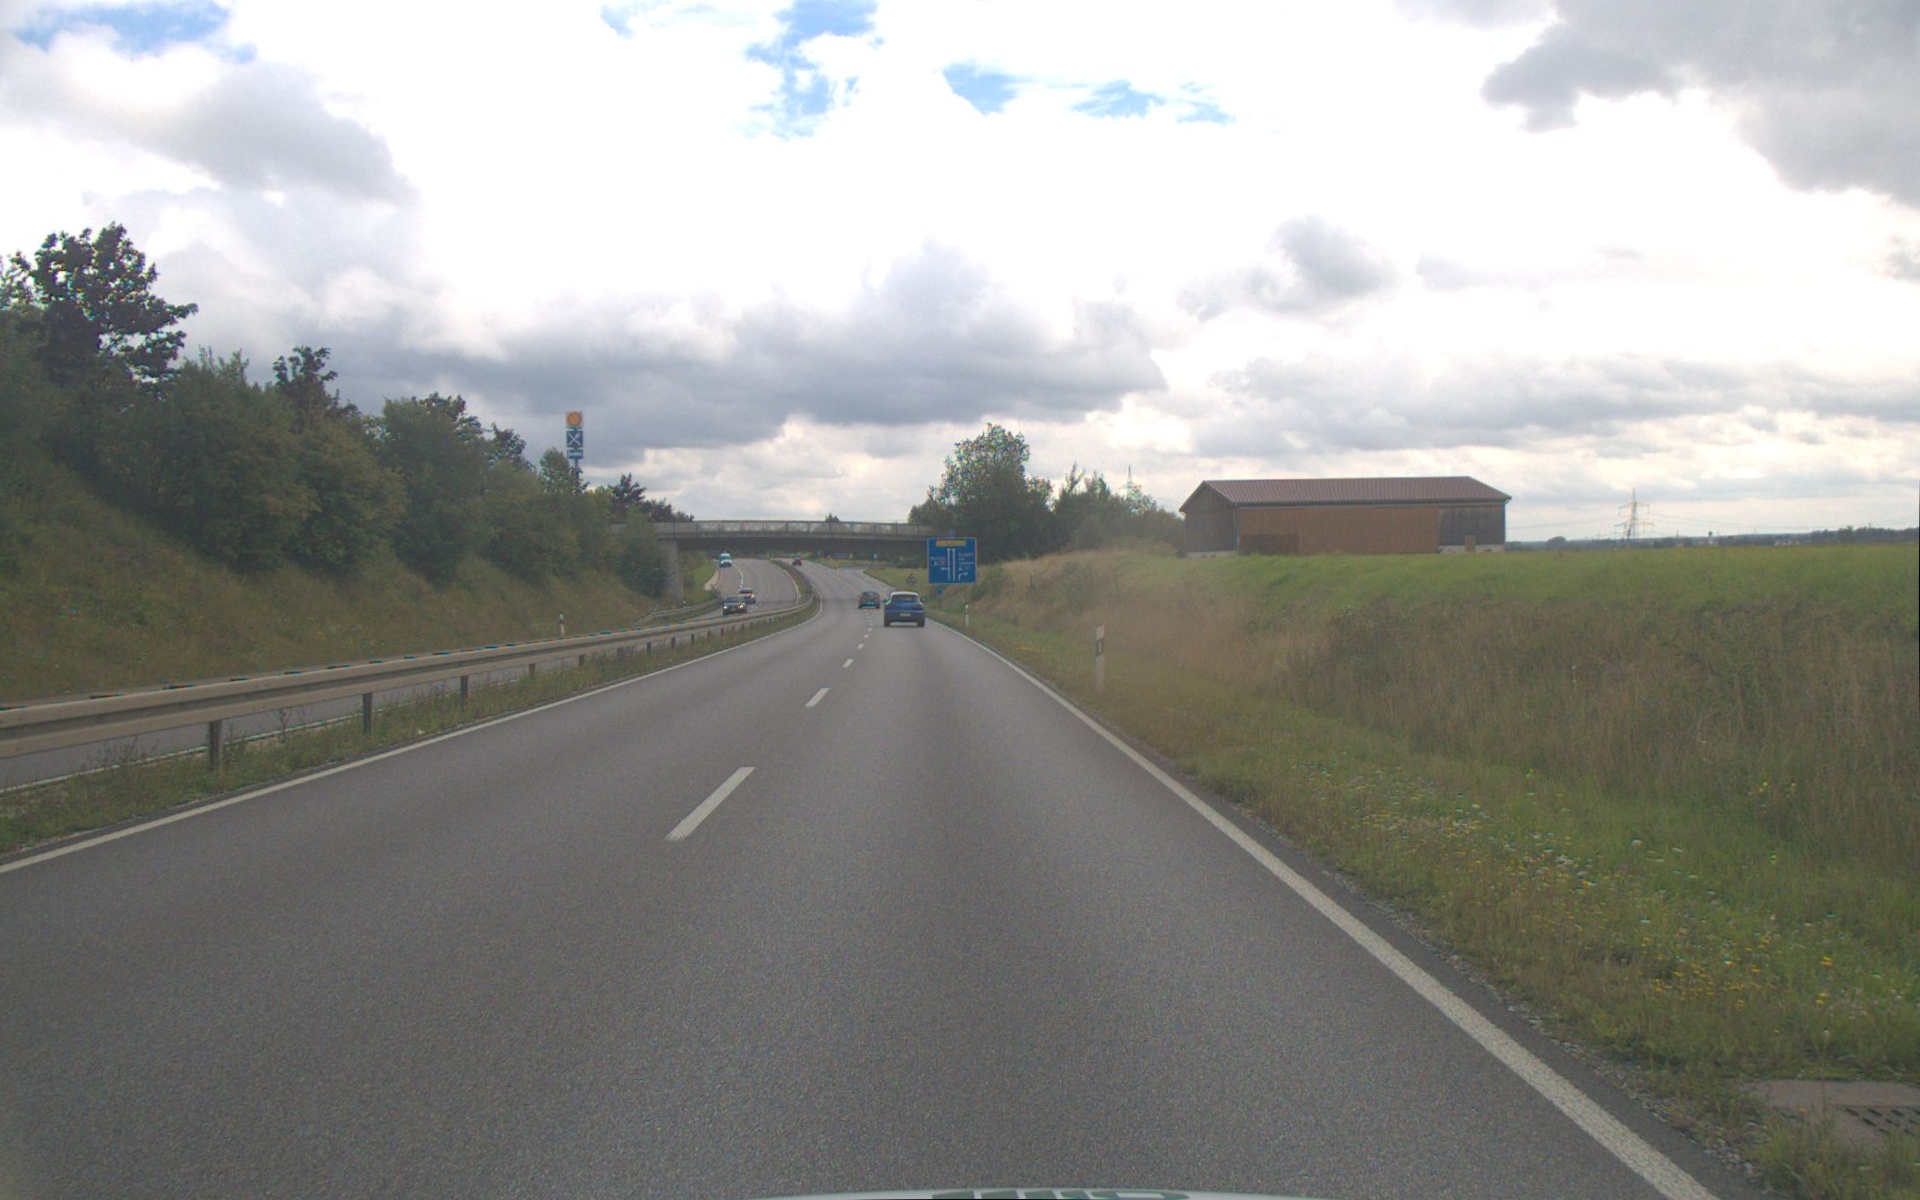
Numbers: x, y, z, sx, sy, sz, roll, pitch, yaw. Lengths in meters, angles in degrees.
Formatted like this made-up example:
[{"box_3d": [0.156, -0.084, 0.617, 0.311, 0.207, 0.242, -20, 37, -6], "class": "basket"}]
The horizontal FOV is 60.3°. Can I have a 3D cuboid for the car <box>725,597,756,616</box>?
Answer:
[{"box_3d": [-17.036, 0.475, 128.458, 1.953, 1.327, 4.820, -1, 1, -2], "class": "car"}]

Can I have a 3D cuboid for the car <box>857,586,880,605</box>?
[{"box_3d": [-7.671, -0.420, 138.381, 1.880, 1.478, 4.360, -1, 1, -4], "class": "car"}]

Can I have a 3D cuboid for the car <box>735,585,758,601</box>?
[{"box_3d": [-21.519, -0.720, 167.034, 1.954, 1.478, 3.998, -1, 1, -3], "class": "car"}]

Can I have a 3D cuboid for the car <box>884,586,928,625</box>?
[{"box_3d": [-2.555, 0.224, 78.751, 1.992, 1.689, 4.543, 0, 2, -2], "class": "car"}]
